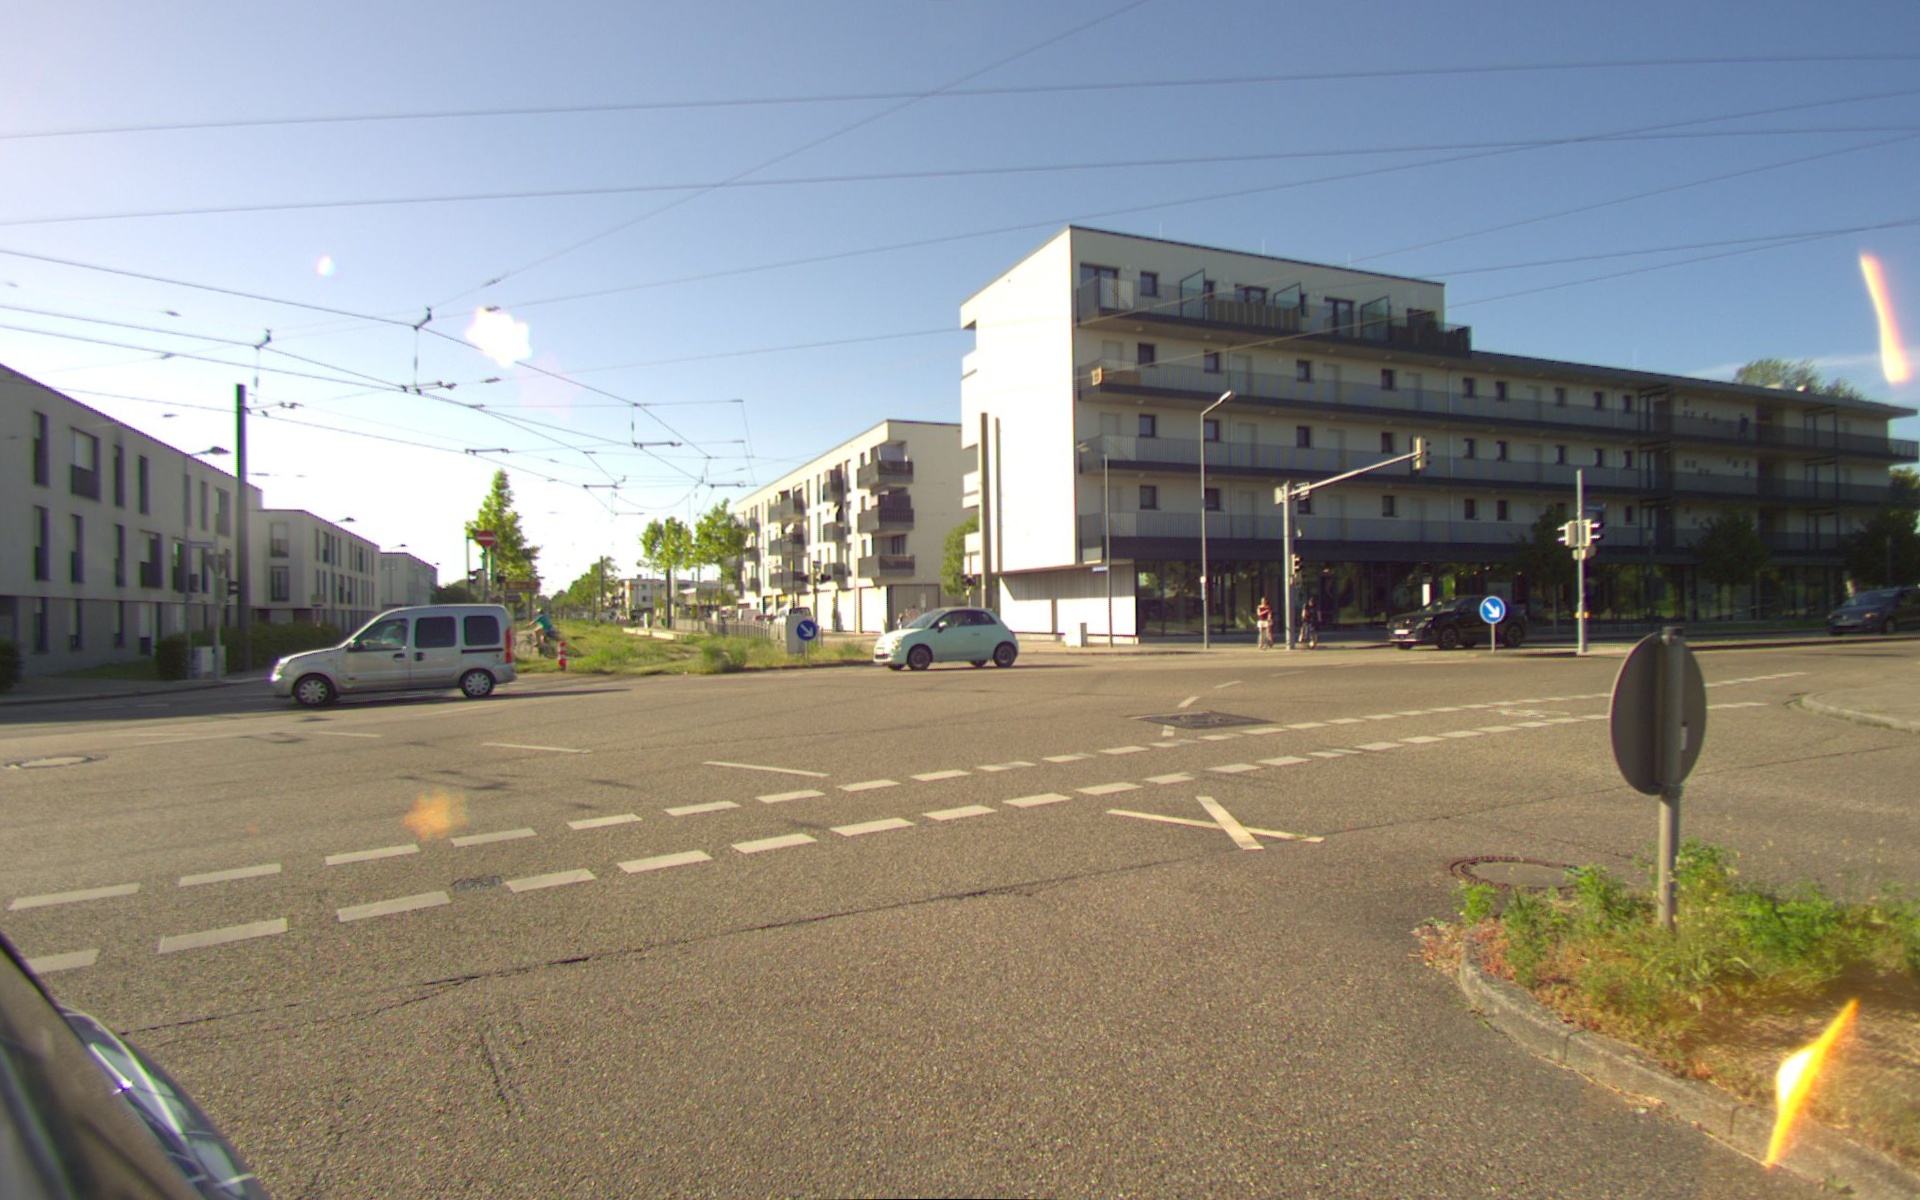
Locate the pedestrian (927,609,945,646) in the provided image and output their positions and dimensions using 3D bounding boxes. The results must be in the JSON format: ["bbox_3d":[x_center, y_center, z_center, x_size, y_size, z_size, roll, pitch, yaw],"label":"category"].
[{"bbox_3d":[-1.096,1.251,46.143,0.741,1.699,0.576,0,1,-4],"label":"pedestrian"}]

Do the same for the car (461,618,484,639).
[{"bbox_3d":[-49.990,2.900,103.684,1.965,2.029,4.013,-1,-1,-27],"label":"car"}]

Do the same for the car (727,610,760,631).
[{"bbox_3d":[-17.873,1.640,83.509,1.965,1.565,4.013,0,1,-23],"label":"car"}]

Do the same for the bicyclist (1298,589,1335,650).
[{"bbox_3d":[12.067,0.663,34.253,0.798,2.029,0.797,0,-1,-34],"label":"bicyclist"}]

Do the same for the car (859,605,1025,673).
[{"bbox_3d":[-0.451,0.953,24.675,3.482,1.498,2.006,-1,-3,-25],"label":"car"}]

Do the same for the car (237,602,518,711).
[{"bbox_3d":[-10.542,0.961,18.704,4.286,1.768,2.006,-1,-1,-25],"label":"car"}]

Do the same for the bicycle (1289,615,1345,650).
[{"bbox_3d":[12.079,1.102,34.241,0.732,1.152,1.647,0,-1,-34],"label":"bicycle"}]

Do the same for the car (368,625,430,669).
[{"bbox_3d":[-23.101,1.903,41.809,1.974,1.678,4.013,-1,-1,-25],"label":"car"}]

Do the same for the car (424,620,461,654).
[{"bbox_3d":[-32.460,2.299,63.567,1.965,2.029,4.013,-1,-1,-25],"label":"car"}]

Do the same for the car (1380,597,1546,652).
[{"bbox_3d":[15.409,0.723,31.018,4.658,1.546,1.980,-1,-1,-23],"label":"car"}]

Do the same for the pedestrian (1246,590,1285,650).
[{"bbox_3d":[10.417,0.686,34.531,0.747,2.029,0.983,-1,-1,-28],"label":"pedestrian"}]

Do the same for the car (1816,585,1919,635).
[{"bbox_3d":[31.111,0.320,33.814,3.931,1.583,2.006,-1,-1,-17],"label":"car"}]

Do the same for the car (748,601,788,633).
[{"bbox_3d":[-13.075,1.150,68.700,1.965,2.029,4.013,0,1,-22],"label":"car"}]
